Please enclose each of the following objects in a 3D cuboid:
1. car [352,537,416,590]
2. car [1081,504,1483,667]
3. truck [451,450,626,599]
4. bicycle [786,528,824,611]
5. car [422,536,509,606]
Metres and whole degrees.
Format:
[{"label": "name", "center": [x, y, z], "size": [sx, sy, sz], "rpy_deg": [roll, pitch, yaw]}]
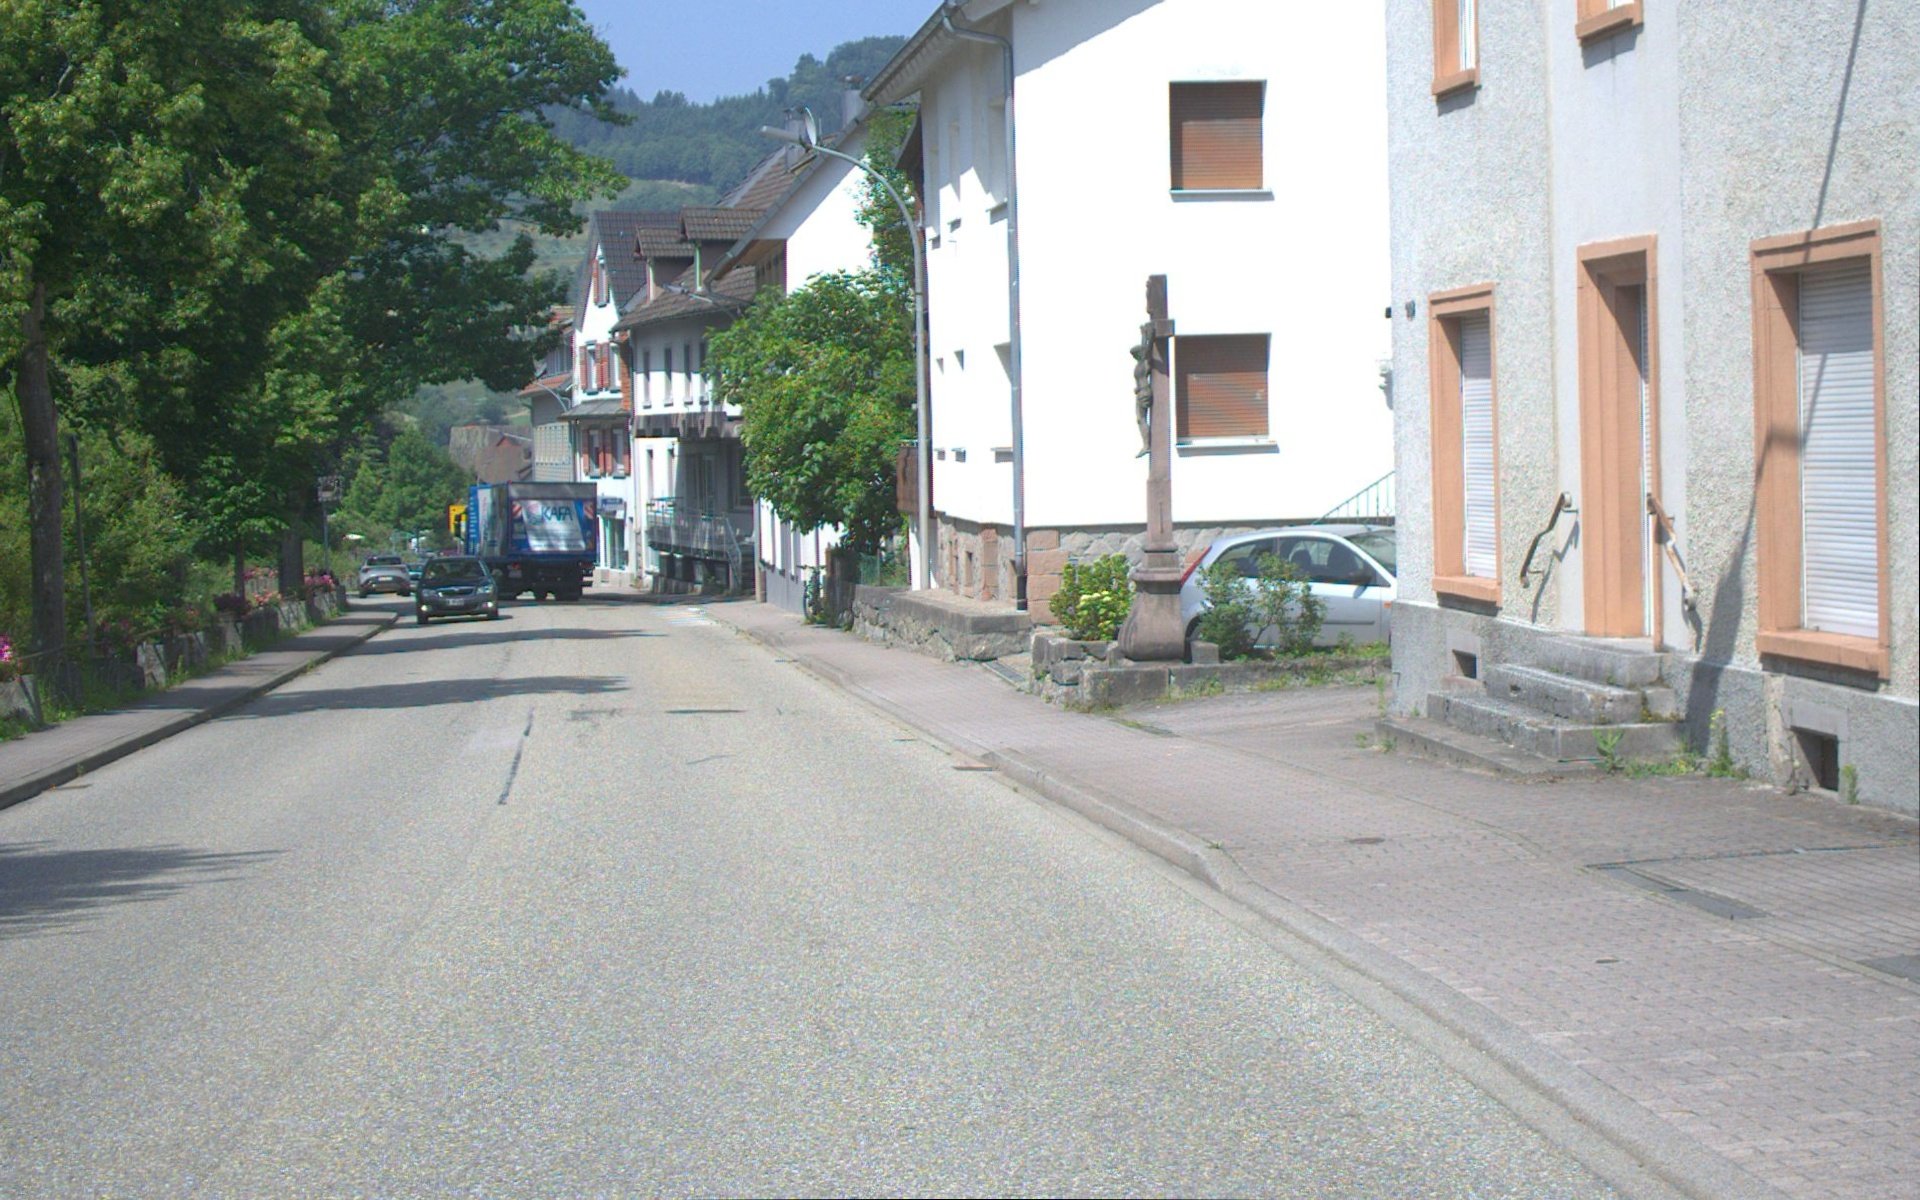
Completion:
[{"label": "car", "center": [-21.727, -1.366, 129.559], "size": [1.773, 1.728, 4.001], "rpy_deg": [-5, 0, -17]}, {"label": "car", "center": [3.269, -0.136, 35.242], "size": [3.772, 1.422, 1.606], "rpy_deg": [-3, 2, 39]}, {"label": "truck", "center": [-12.475, -2.135, 101.049], "size": [3.362, 3.769, 8.442], "rpy_deg": [-5, 0, -17]}, {"label": "bicycle", "center": [-2.747, -0.555, 60.639], "size": [0.425, 1.391, 2.277], "rpy_deg": [-5, 2, -6]}, {"label": "car", "center": [-10.832, -0.641, 75.489], "size": [1.666, 1.413, 4.087], "rpy_deg": [-3, 1, -6]}]
